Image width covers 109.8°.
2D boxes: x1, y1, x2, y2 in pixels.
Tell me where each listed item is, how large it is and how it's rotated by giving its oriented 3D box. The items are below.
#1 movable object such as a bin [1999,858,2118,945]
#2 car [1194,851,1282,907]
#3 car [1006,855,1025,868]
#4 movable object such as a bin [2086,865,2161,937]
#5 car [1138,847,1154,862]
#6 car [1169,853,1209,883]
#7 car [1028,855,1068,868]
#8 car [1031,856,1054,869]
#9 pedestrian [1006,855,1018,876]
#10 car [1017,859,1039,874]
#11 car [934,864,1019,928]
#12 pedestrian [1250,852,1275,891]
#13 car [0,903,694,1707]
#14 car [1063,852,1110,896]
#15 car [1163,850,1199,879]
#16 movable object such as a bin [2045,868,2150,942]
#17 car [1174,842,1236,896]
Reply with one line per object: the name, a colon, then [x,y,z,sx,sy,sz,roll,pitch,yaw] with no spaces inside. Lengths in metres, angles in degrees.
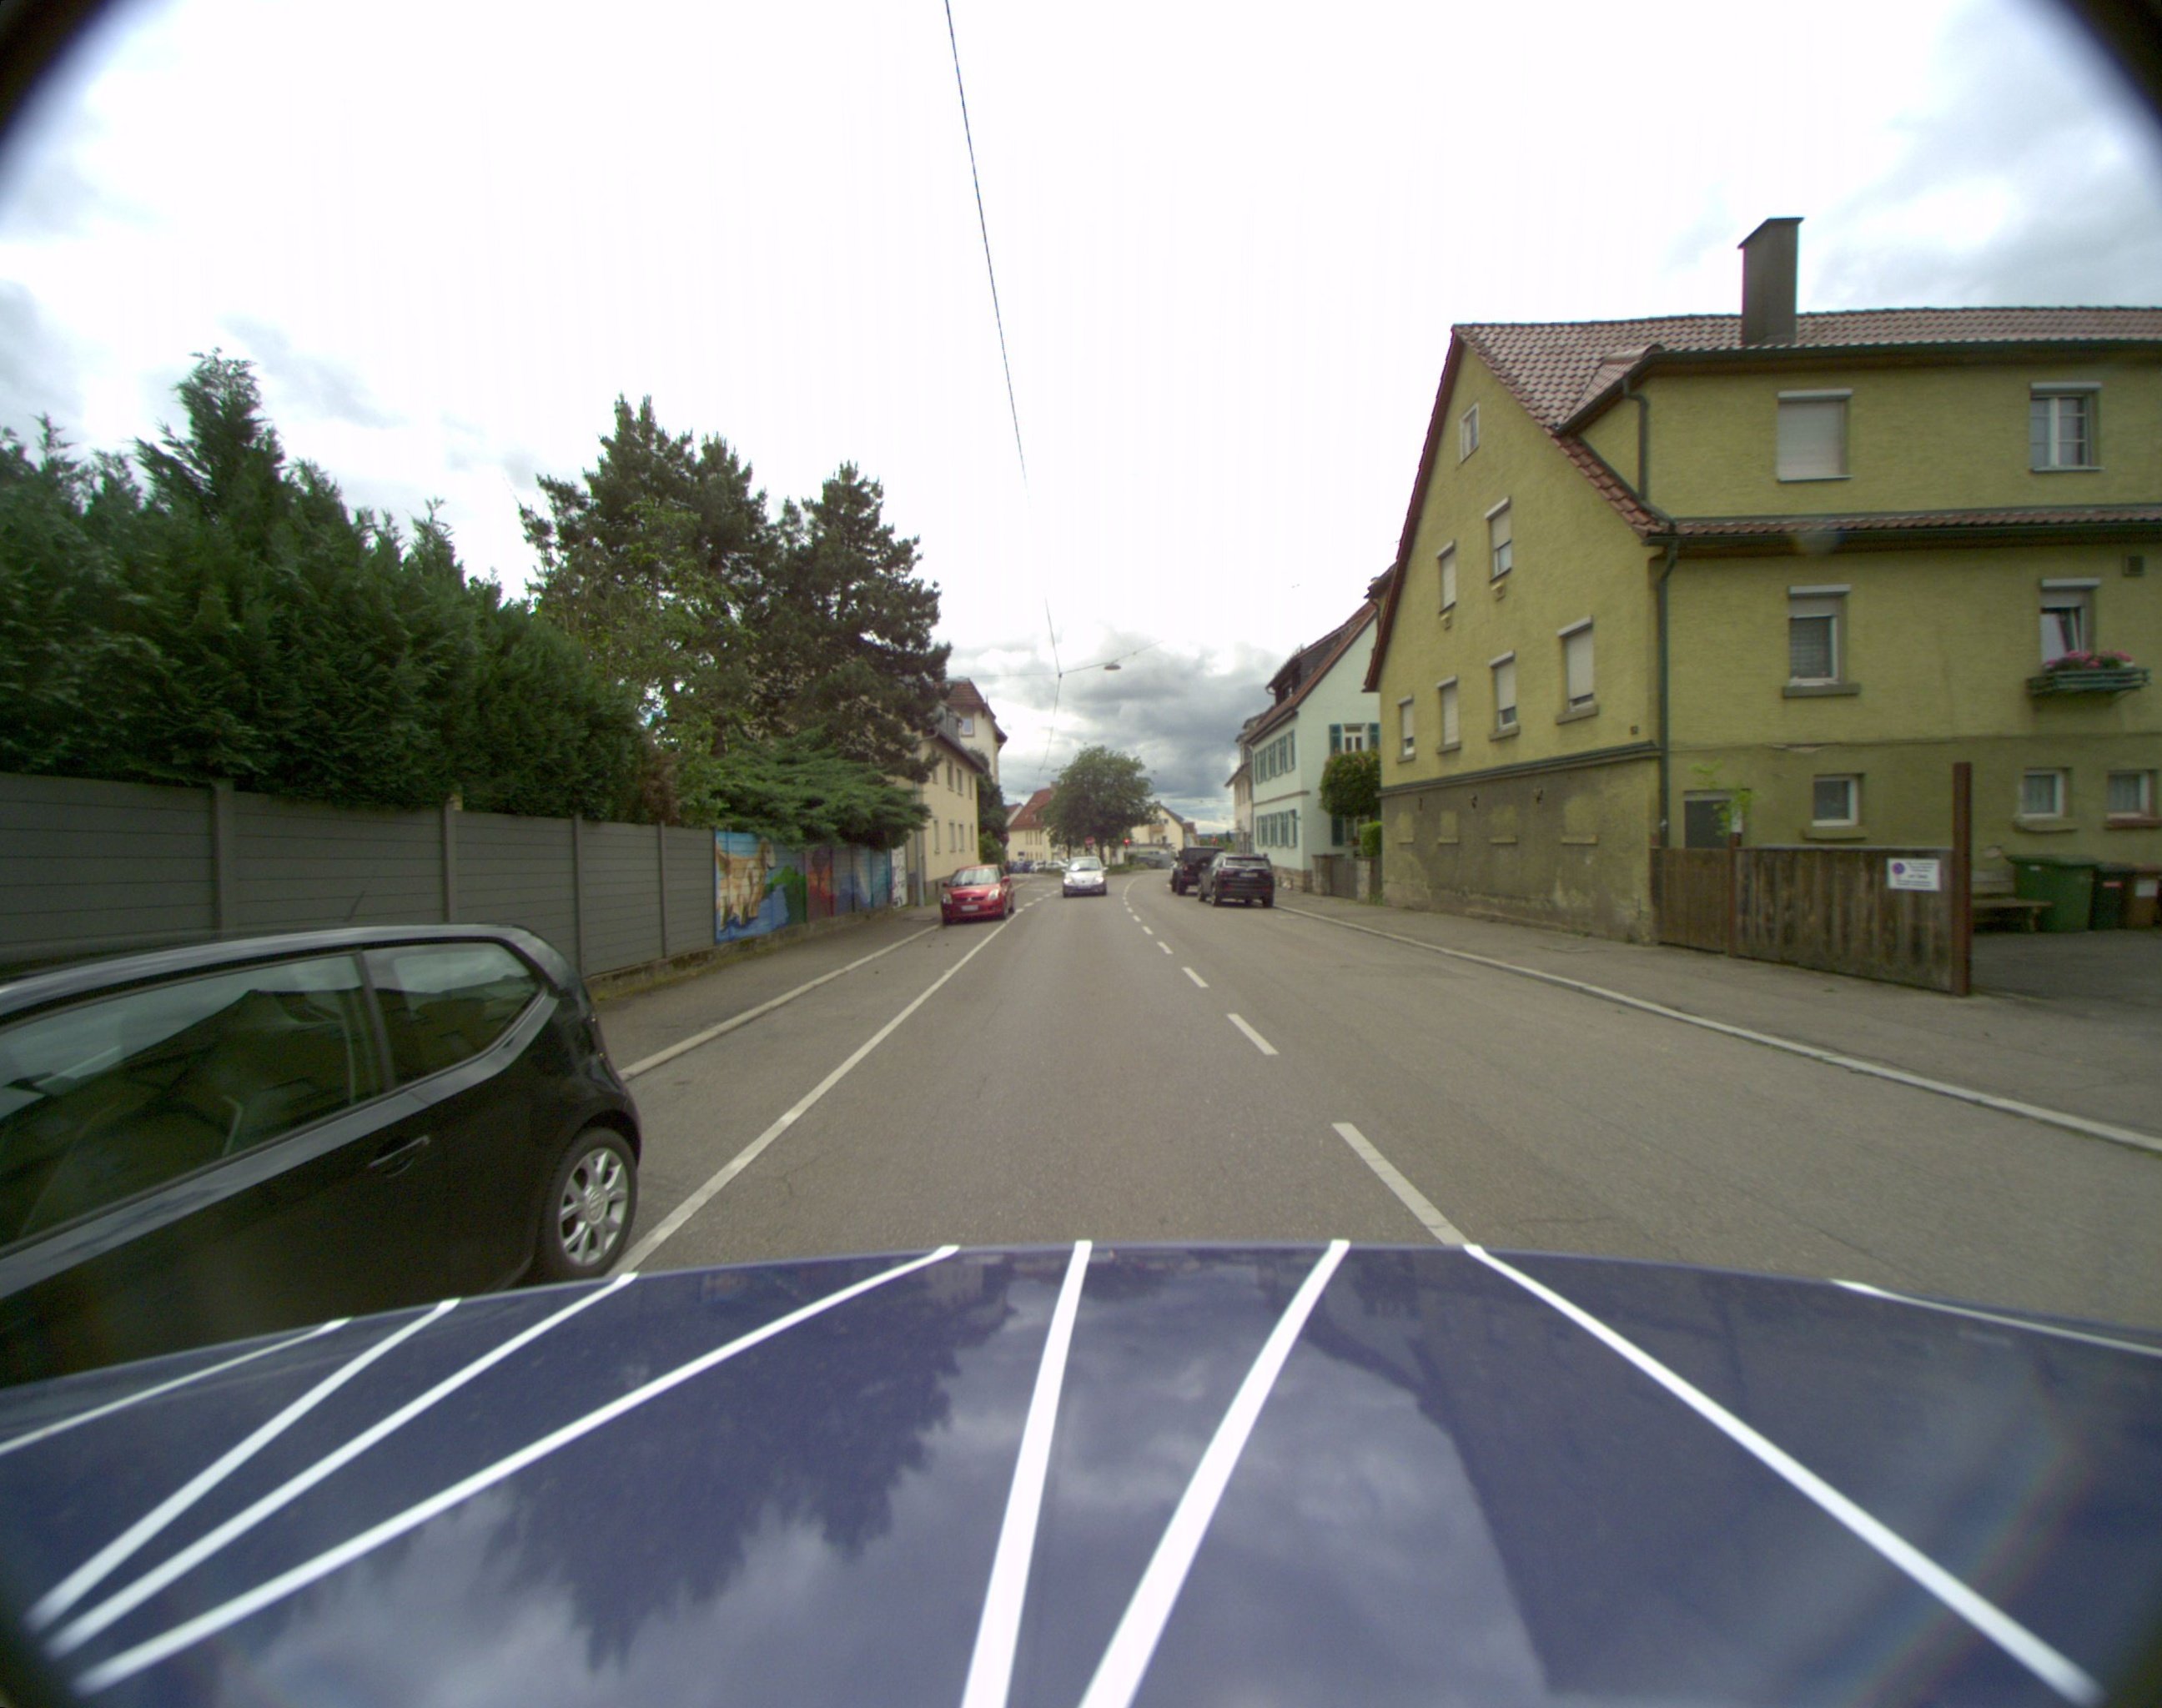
movable object such as a bin: [13.182,0.624,10.258,0.901,1.099,0.624,-2,1,-9]
car: [4.887,0.768,24.288,1.901,1.609,4.525,0,-1,0]
car: [-9.645,1.075,111.515,1.724,1.720,3.994,-2,-1,-19]
movable object such as a bin: [14.616,0.637,10.536,0.568,0.943,0.624,-2,1,-9]
car: [8.427,0.093,98.214,1.749,1.729,4.576,1,-1,10]
car: [5.725,0.710,40.741,2.002,1.428,3.920,-2,0,6]
car: [-3.844,0.918,88.896,4.565,1.436,2.000,1,0,-1]
car: [-5.043,1.117,98.820,1.777,1.608,3.994,-2,-1,-21]
pedestrian: [-5.911,1.012,65.195,0.861,1.722,1.021,-3,-1,-12]
car: [-7.326,1.797,104.333,1.777,1.931,4.318,1,-2,-21]
car: [-2.825,1.095,21.376,1.763,1.443,4.000,-3,0,0]
pedestrian: [7.187,0.685,30.117,0.807,1.491,0.976,-3,1,6]
car: [-2.743,0.998,1.739,1.763,1.443,3.999,-1,1,-3]
car: [0.273,0.803,31.055,1.721,1.586,4.001,-3,-1,1]
car: [6.127,0.609,46.292,2.001,1.623,4.860,-2,0,9]
movable object such as a bin: [13.977,0.682,10.461,0.663,0.943,0.624,-2,1,-9]
car: [4.900,0.543,30.600,1.998,2.002,4.671,0,0,3]
